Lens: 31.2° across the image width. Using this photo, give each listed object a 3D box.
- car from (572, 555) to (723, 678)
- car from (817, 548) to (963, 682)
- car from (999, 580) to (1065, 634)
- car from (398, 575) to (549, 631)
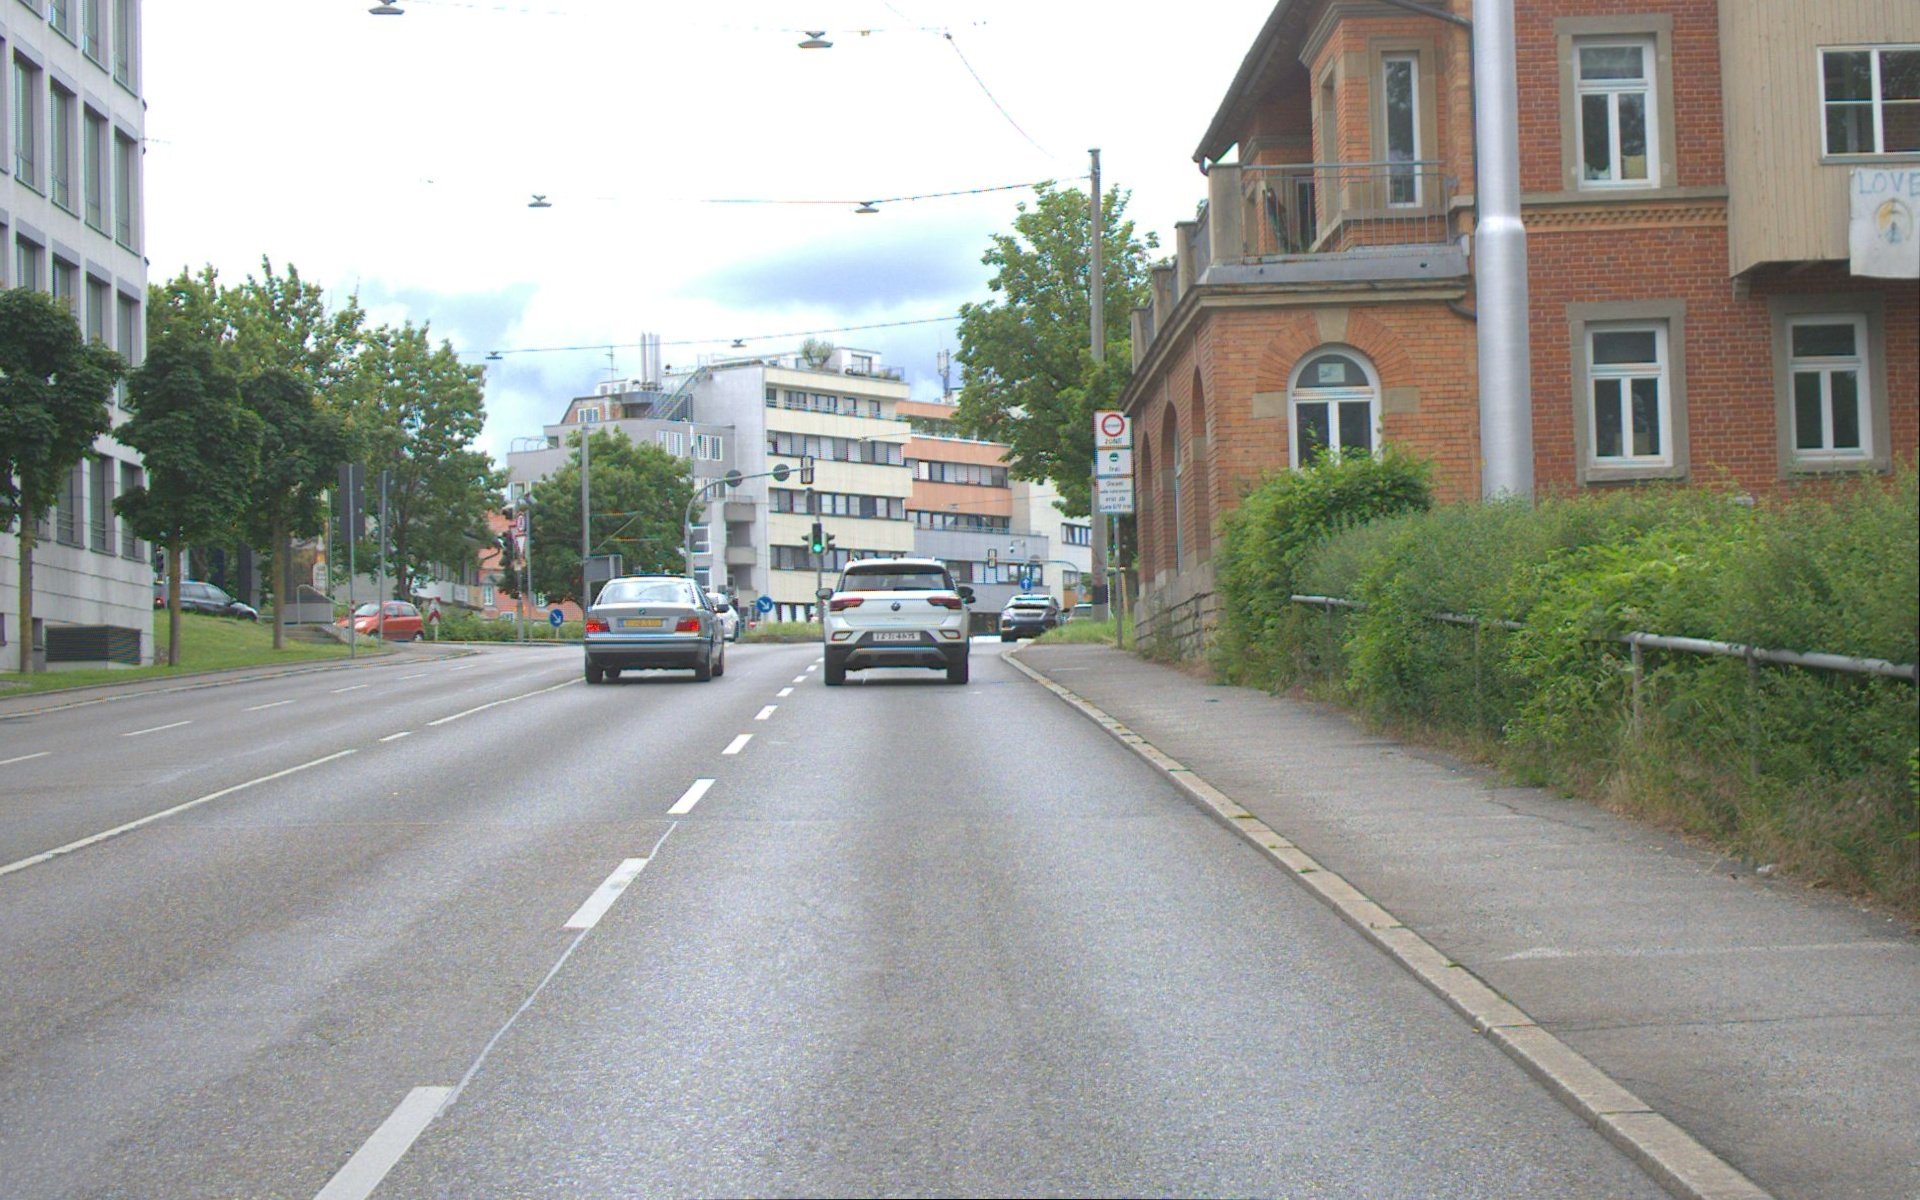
[{"bbox_3d":[-4.098,0.186,45.548,1.699,1.511,3.736,-1,1,-1],"label":"car"},{"bbox_3d":[-0.872,0.156,43.064,1.699,1.543,3.736,2,1,-1],"label":"car"},{"bbox_3d":[2.187,0.199,103.744,1.770,1.565,4.284,-1,0,4],"label":"car"},{"bbox_3d":[-13.759,0.072,97.377,1.780,1.539,3.990,-1,0,43],"label":"car"}]
